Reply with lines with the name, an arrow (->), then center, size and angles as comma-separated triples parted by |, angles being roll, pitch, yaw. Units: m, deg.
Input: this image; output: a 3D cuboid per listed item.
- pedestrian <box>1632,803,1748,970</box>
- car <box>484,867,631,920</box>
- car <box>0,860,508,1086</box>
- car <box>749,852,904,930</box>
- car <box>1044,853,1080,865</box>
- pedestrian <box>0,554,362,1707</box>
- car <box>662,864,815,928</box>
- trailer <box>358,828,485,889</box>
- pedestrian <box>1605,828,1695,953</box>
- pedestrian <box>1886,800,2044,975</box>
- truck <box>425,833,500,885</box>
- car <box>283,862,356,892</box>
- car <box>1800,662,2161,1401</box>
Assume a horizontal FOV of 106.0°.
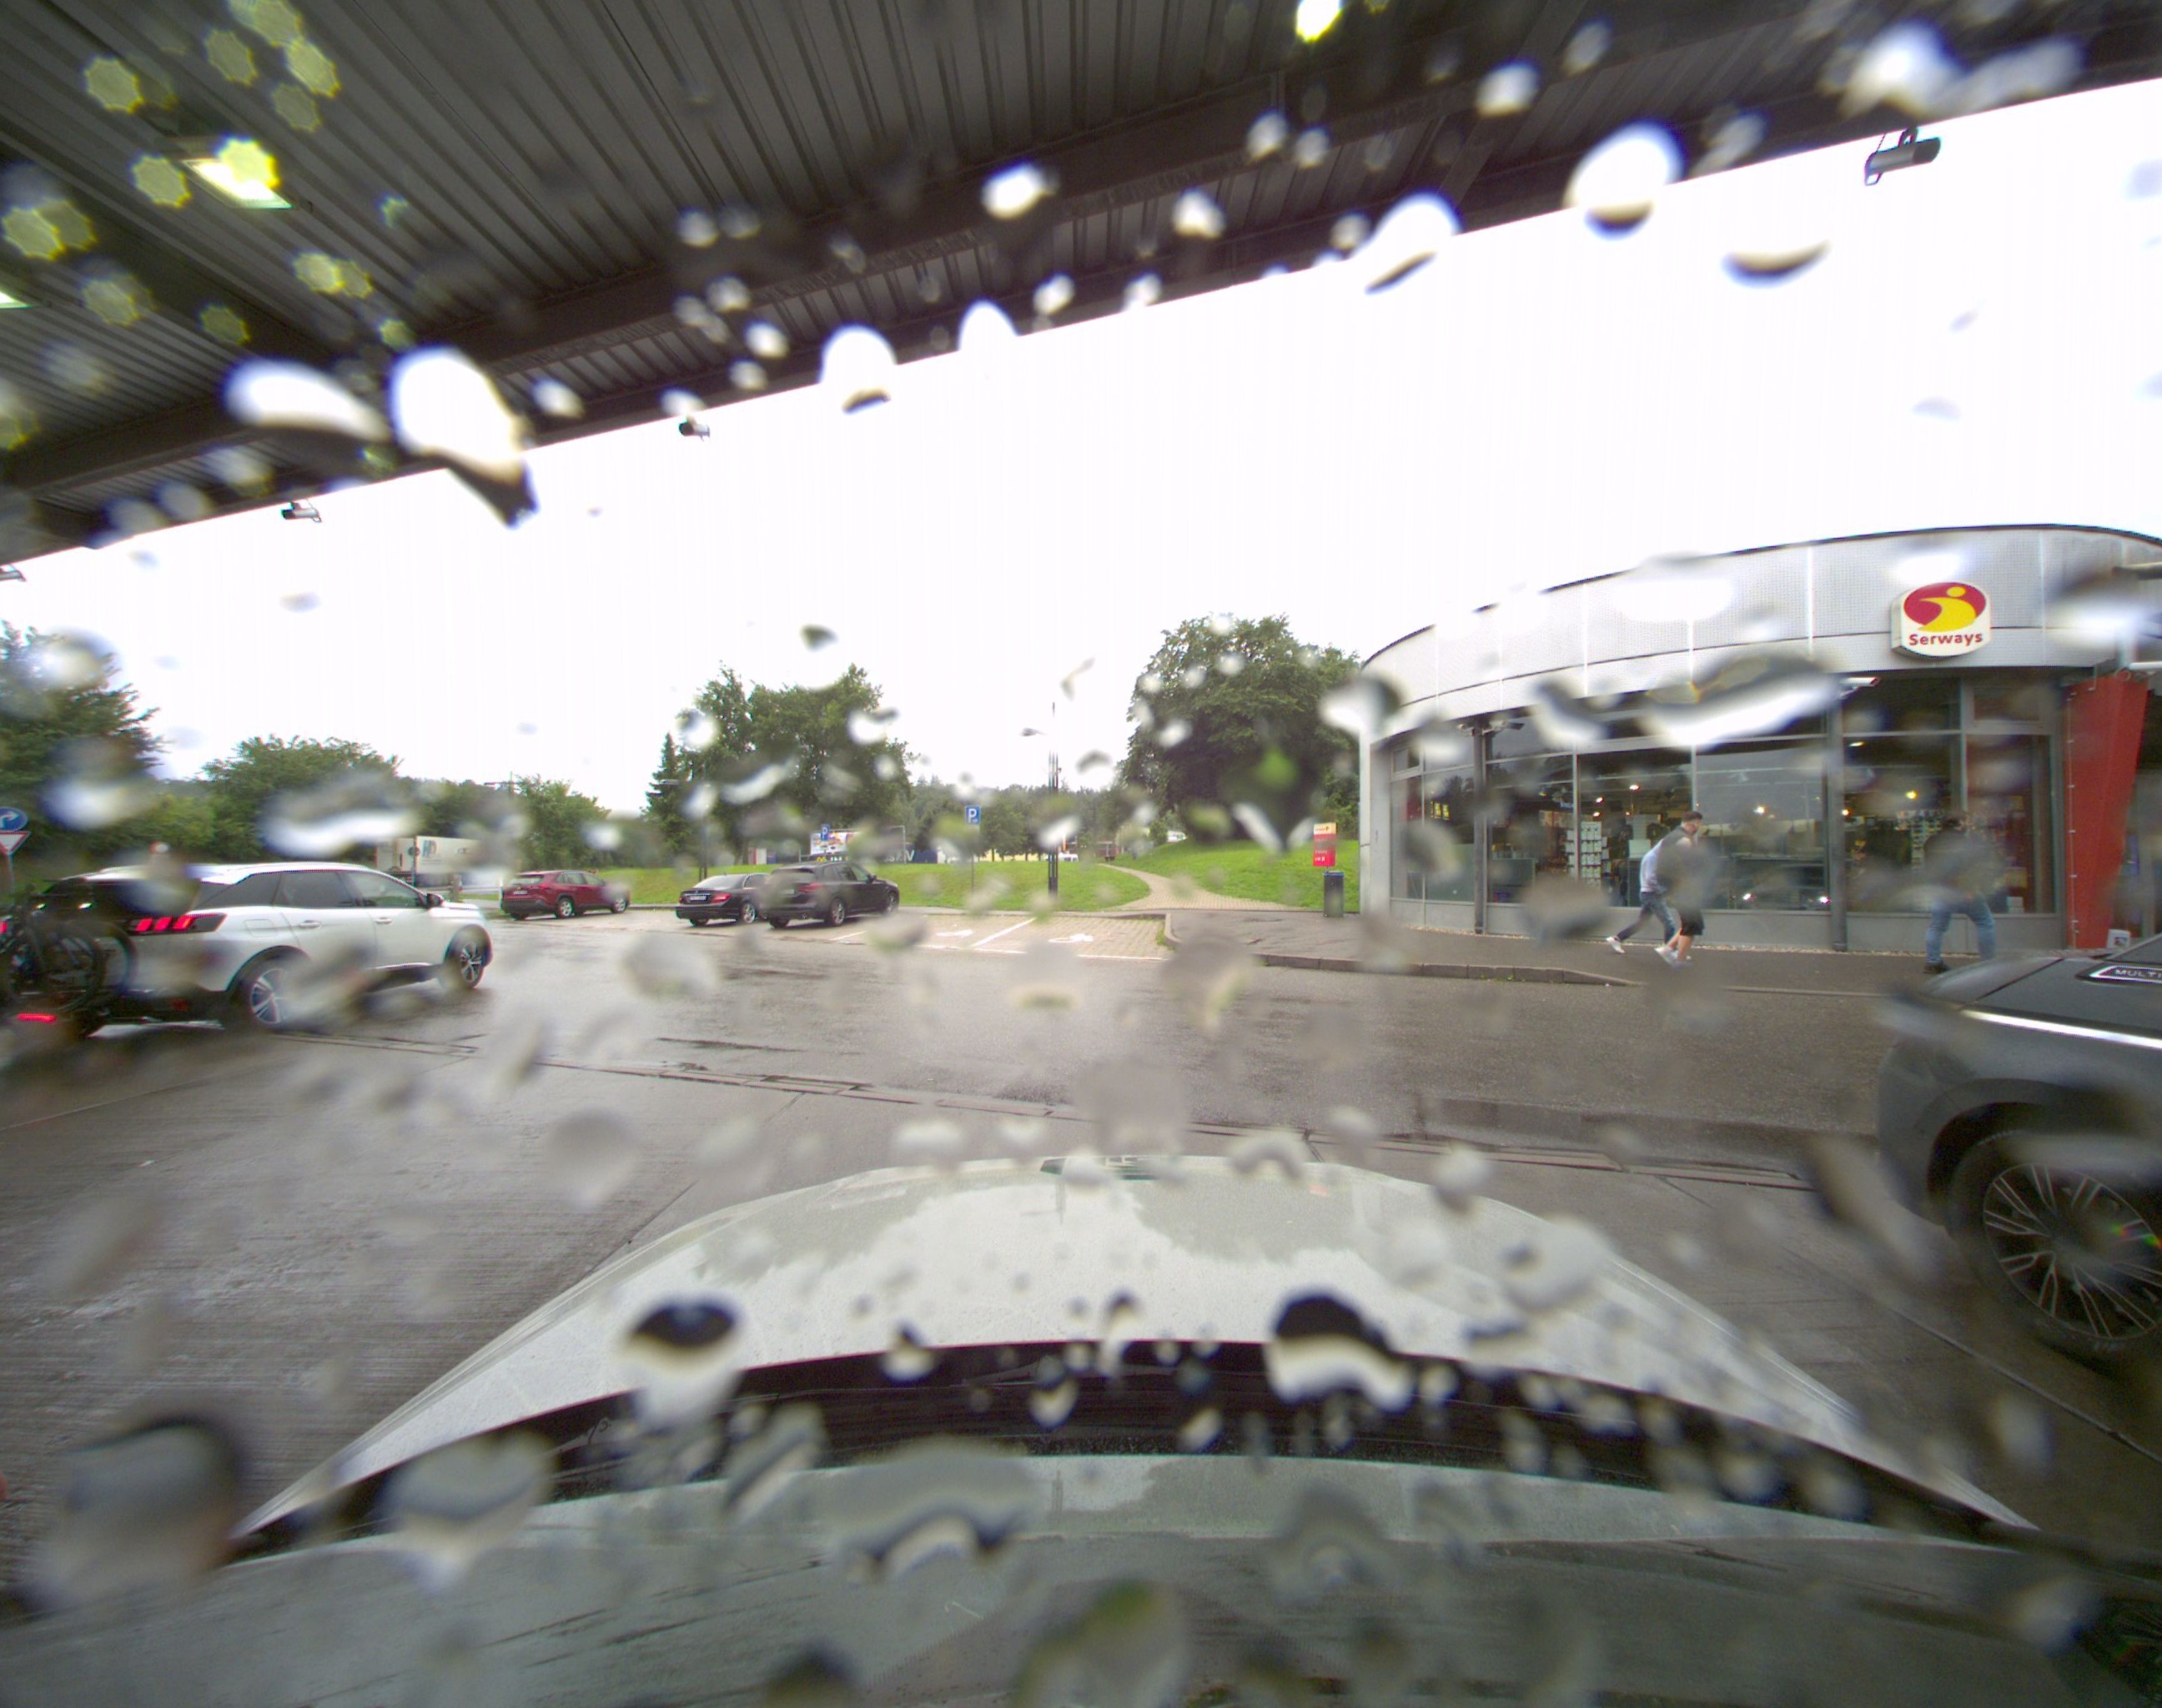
pedestrian -> 7.137, 0.363, 9.599 | 0.963, 1.848, 0.778 | -2, 0, 30
car -> -18.159, 1.330, 28.520 | 1.873, 1.596, 4.364 | -2, 0, 8
car -> -8.212, 0.866, 8.186 | 1.812, 1.565, 4.993 | 0, 0, -6
car -> -6.614, 0.885, 21.738 | 1.871, 1.828, 4.429 | -2, 0, 13
car -> -3.149, 0.804, 134.064 | 5.376, 2.013, 2.468 | -1, 0, 21
pedestrian -> -1.602, 0.536, 0.925 | 0.791, 1.734, 0.839 | -1, -1, 1
car -> -9.615, 1.134, 23.296 | 1.871, 1.565, 4.200 | -2, 0, 13
trailer -> -54.884, 0.419, 68.479 | 3.466, 4.557, 13.827 | 0, -1, -18
pedestrian -> 7.413, 0.461, 10.657 | 0.880, 1.550, 0.665 | -2, 0, 31
pedestrian -> 10.040, 0.363, 9.302 | 0.989, 1.864, 0.804 | -2, 0, 30
truck -> -57.106, 0.493, 75.419 | 3.467, 4.557, 6.694 | 0, -1, -18
car -> -49.478, 1.441, 53.034 | 1.934, 1.838, 4.361 | -1, 0, -20
car -> 3.718, 0.462, 1.227 | 1.809, 1.948, 4.002 | -1, 0, 2
